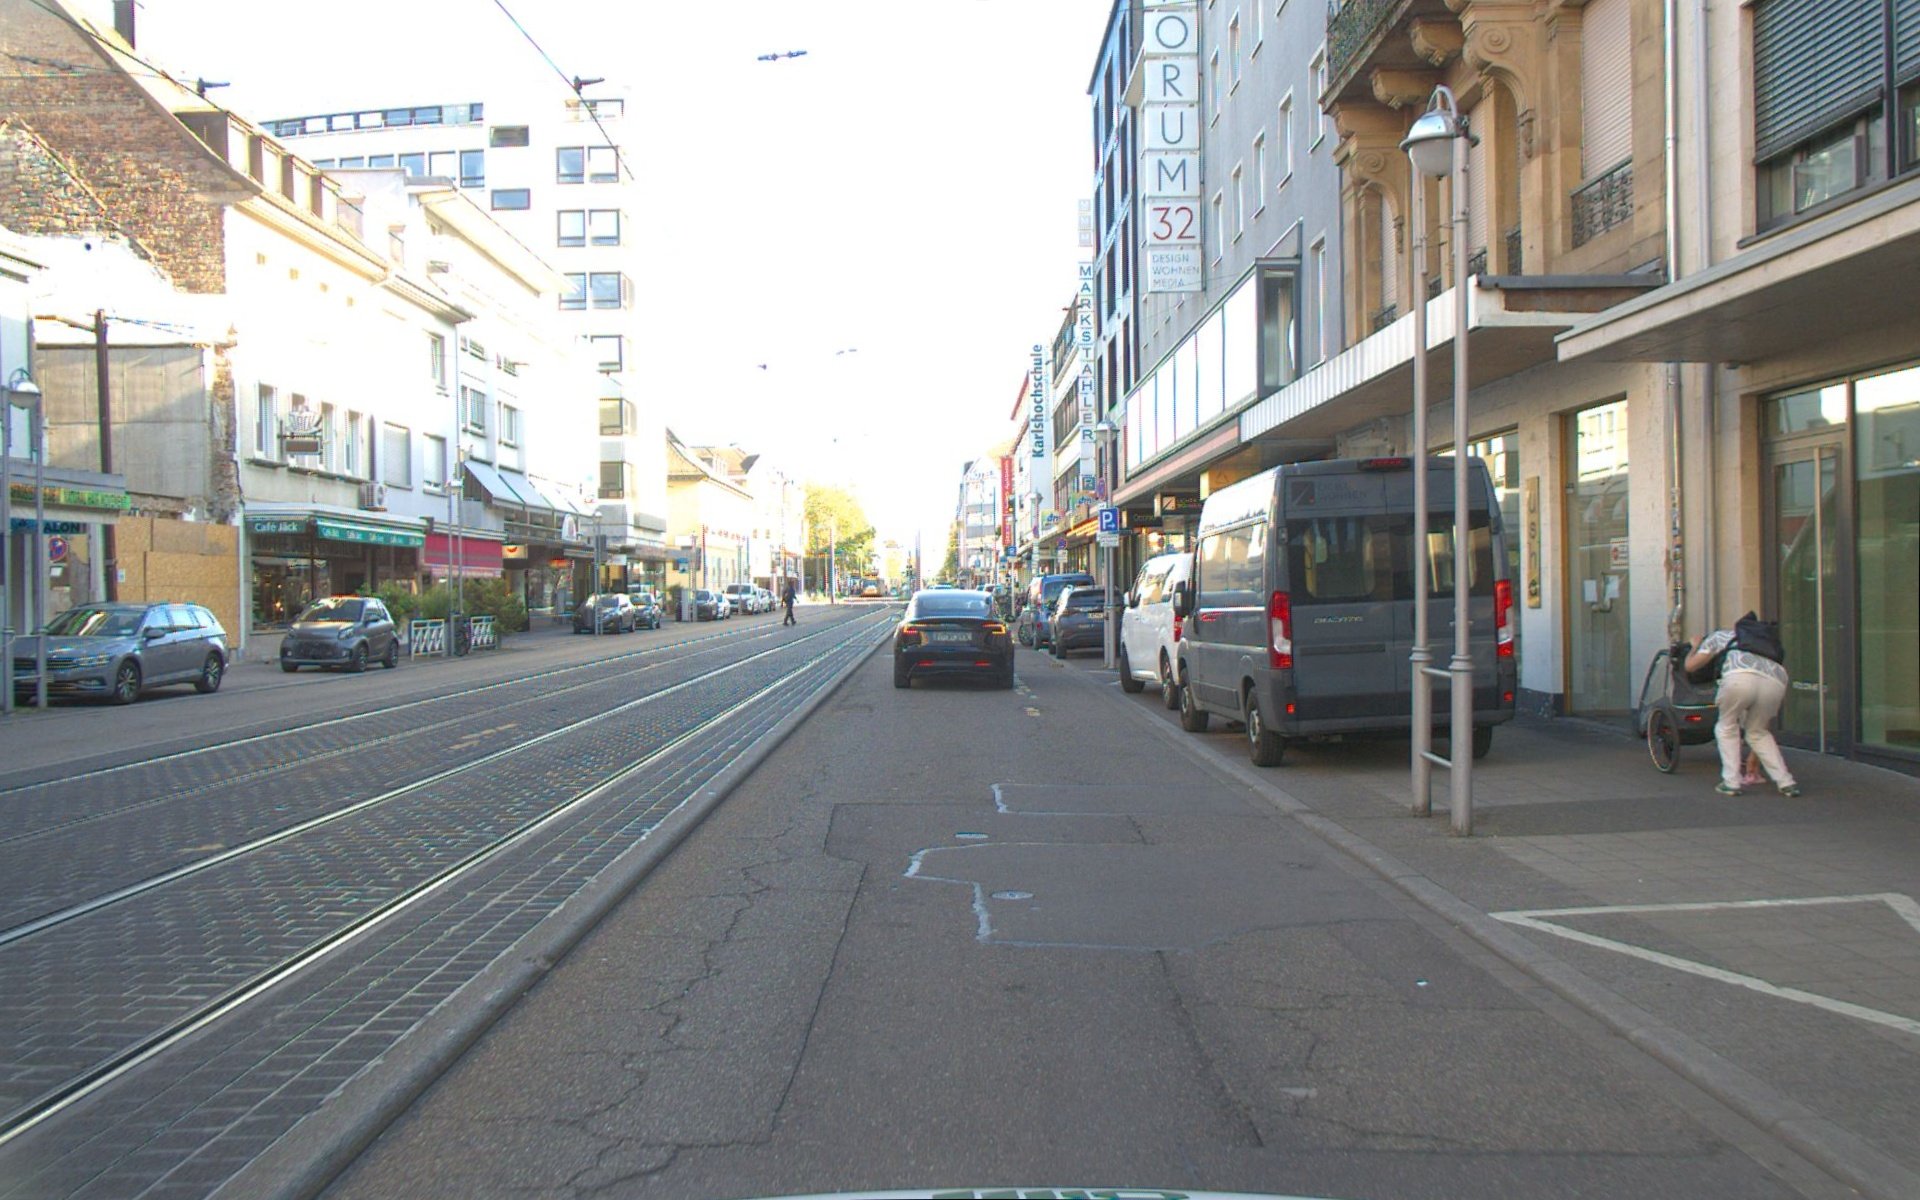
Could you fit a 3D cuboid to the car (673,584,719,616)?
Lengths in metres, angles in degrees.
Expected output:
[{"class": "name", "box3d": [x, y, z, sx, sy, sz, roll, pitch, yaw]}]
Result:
[{"class": "car", "box3d": [-13.878, 0.001, 87.114, 1.682, 1.599, 3.850, -1, 1, 1]}]

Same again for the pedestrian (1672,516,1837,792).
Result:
[{"class": "pedestrian", "box3d": [5.304, 0.342, 11.086, 0.545, 1.744, 0.954, -3, 0, -2]}]

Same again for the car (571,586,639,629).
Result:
[{"class": "car", "box3d": [-13.640, 0.271, 63.745, 1.733, 1.534, 3.864, -1, 1, 0]}]

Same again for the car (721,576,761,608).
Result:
[{"class": "car", "box3d": [-14.061, -0.541, 106.432, 1.968, 1.995, 4.724, -1, 1, -1]}]

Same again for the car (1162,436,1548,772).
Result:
[{"class": "car", "box3d": [3.401, -0.013, 15.540, 2.127, 2.504, 5.360, -3, 1, -1]}]

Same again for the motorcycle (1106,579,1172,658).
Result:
[{"class": "motorcycle", "box3d": [3.272, 0.327, 30.507, 0.797, 1.338, 2.632, -5, 0, -1]}]

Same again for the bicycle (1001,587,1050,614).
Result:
[{"class": "bicycle", "box3d": [2.898, 0.021, 73.271, 2.116, 1.116, 0.686, -1, 0, -3]}]

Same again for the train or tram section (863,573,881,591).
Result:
[{"class": "train or tram section", "box3d": [-13.148, -2.734, 247.731, 1.952, 2.680, 6.804, -1, 1, 2]}]

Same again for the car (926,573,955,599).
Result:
[{"class": "car", "box3d": [-1.417, -1.034, 120.216, 2.042, 1.903, 3.753, -1, 1, 0]}]

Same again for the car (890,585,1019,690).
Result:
[{"class": "car", "box3d": [-0.092, 0.511, 25.845, 1.831, 1.452, 4.364, -1, 1, 0]}]

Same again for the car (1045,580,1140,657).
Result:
[{"class": "car", "box3d": [2.831, 0.363, 35.944, 1.716, 1.525, 3.753, -2, 1, 0]}]

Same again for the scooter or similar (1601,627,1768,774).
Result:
[{"class": "scooter or similar", "box3d": [5.295, 0.709, 12.159, 0.581, 0.952, 1.298, -3, 1, -2]}]

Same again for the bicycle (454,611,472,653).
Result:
[{"class": "bicycle", "box3d": [-12.779, 0.815, 42.537, 0.363, 1.019, 1.596, -1, 1, -19]}]

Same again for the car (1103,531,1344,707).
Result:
[{"class": "car", "box3d": [3.359, 0.192, 22.121, 2.116, 1.959, 4.614, -4, 1, -4]}]

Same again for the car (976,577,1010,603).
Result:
[{"class": "car", "box3d": [2.042, -0.619, 102.961, 1.953, 1.570, 3.999, -1, 0, -1]}]

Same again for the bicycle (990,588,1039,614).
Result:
[{"class": "bicycle", "box3d": [2.441, 0.037, 74.149, 2.116, 1.116, 0.686, -1, 0, -3]}]

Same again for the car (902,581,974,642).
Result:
[{"class": "car", "box3d": [-0.588, 0.277, 42.259, 1.726, 1.443, 4.353, -1, 0, -2]}]

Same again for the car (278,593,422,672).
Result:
[{"class": "car", "box3d": [-13.067, 0.651, 35.663, 1.641, 1.573, 3.744, 1, 1, 1]}]

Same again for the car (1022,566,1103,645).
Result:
[{"class": "car", "box3d": [2.558, 0.098, 42.076, 1.784, 1.903, 3.753, -1, 1, 0]}]

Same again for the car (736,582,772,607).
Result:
[{"class": "car", "box3d": [-14.101, -0.414, 113.384, 1.947, 1.641, 4.274, -1, 1, 0]}]

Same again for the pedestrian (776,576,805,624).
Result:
[{"class": "pedestrian", "box3d": [-6.730, 0.013, 65.686, 0.757, 1.881, 0.827, -1, 0, 30]}]

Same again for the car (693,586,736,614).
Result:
[{"class": "car", "box3d": [-13.806, -0.021, 93.059, 1.733, 1.534, 3.972, -1, 1, 1]}]

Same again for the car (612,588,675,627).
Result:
[{"class": "car", "box3d": [-13.326, 0.296, 69.885, 1.733, 1.534, 3.862, -1, 1, 3]}]

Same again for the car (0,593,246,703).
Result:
[{"class": "car", "box3d": [-13.117, 0.704, 25.842, 1.953, 1.558, 4.755, 0, -1, -1]}]

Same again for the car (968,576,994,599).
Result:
[{"class": "car", "box3d": [1.655, -0.983, 131.453, 1.953, 1.784, 3.999, -1, 0, -1]}]
